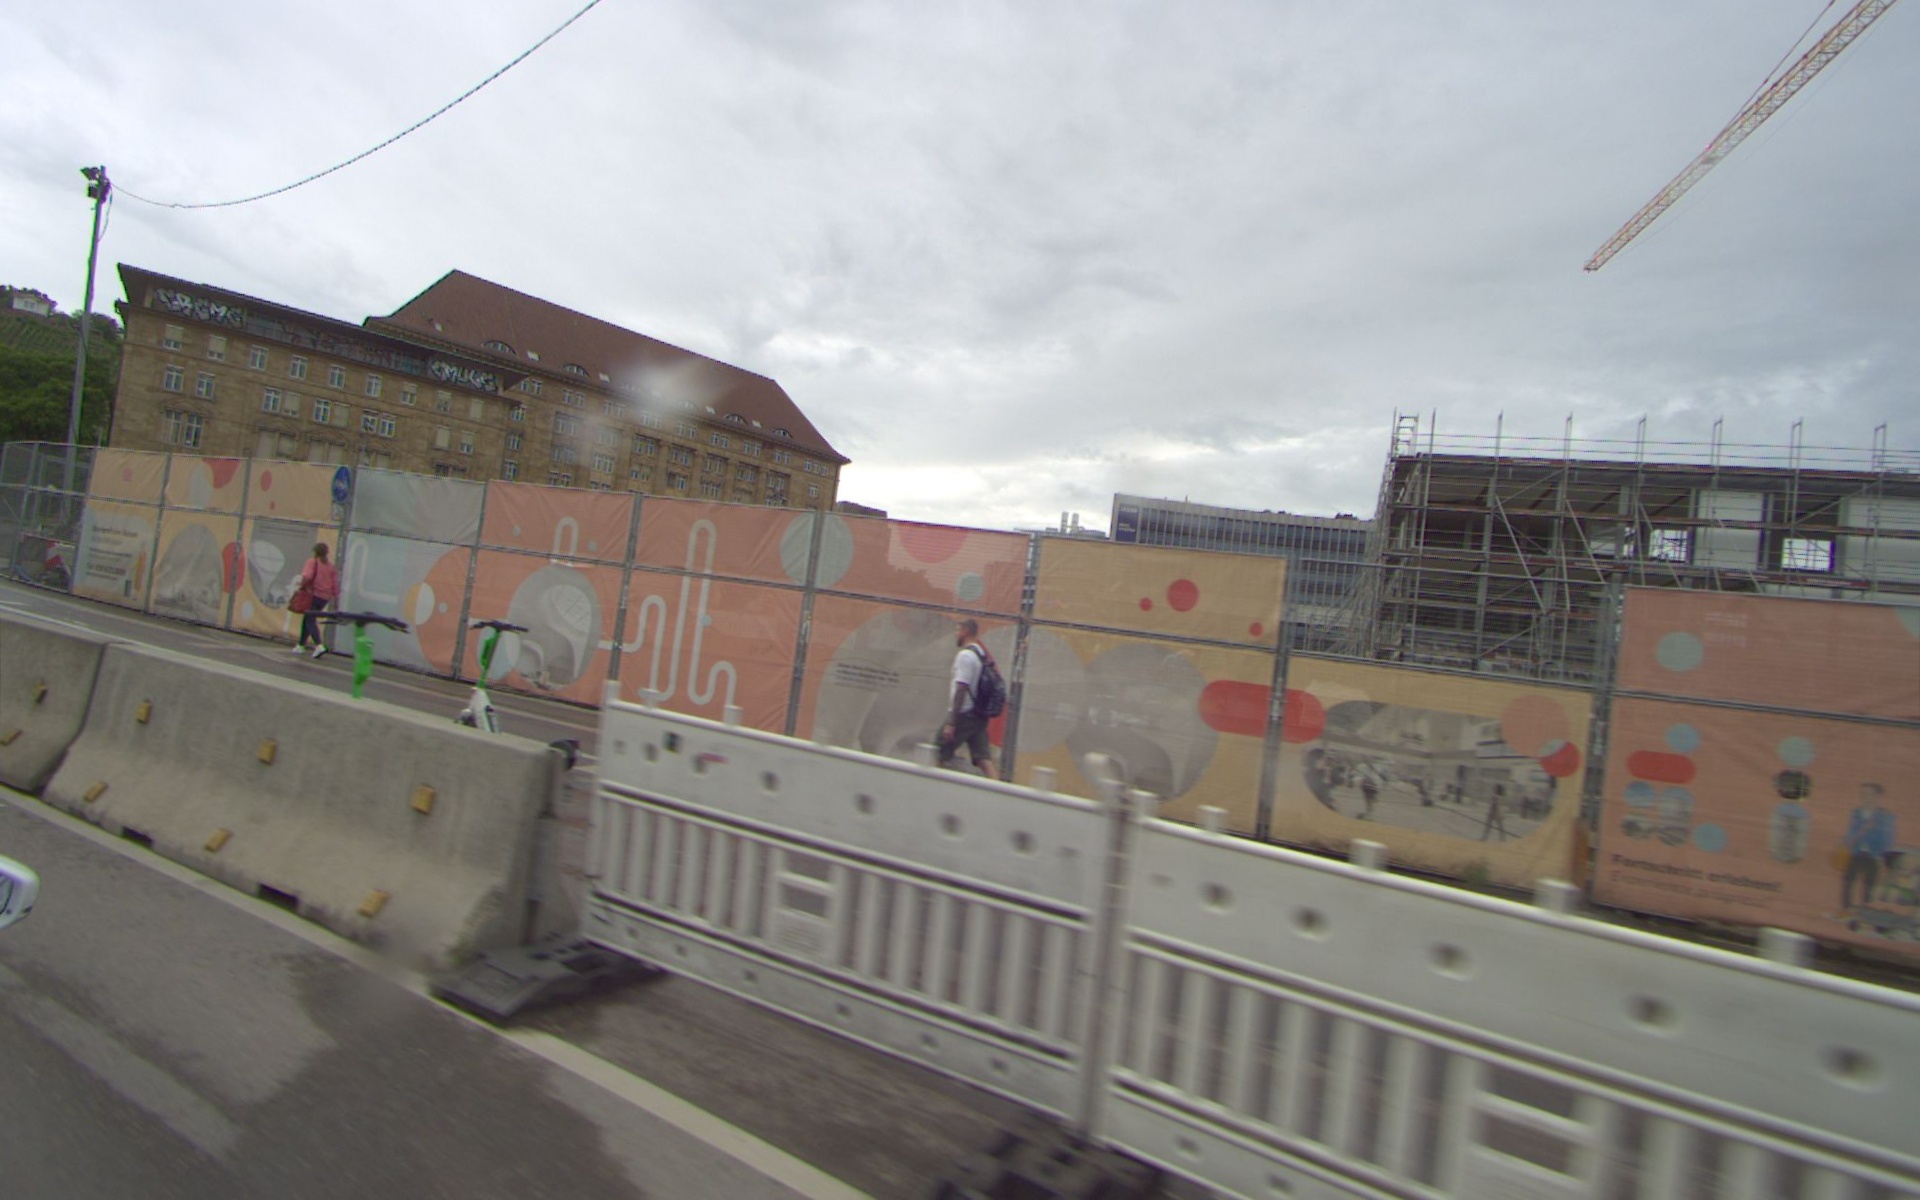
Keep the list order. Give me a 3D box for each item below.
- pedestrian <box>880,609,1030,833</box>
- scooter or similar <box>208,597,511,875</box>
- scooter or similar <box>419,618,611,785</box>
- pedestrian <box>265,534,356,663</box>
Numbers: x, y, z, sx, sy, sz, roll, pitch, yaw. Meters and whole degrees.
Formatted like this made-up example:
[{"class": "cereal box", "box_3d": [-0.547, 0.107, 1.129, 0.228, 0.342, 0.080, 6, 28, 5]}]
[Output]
[{"class": "pedestrian", "box_3d": [-0.040, 1.104, 9.434, 0.972, 1.887, 0.706, 7, -2, 27]}, {"class": "scooter or similar", "box_3d": [-3.364, 0.700, 5.615, 1.545, 1.228, 0.676, 6, -2, 31]}, {"class": "scooter or similar", "box_3d": [-3.790, 0.846, 8.580, 1.388, 1.196, 0.469, 7, -2, 17]}, {"class": "pedestrian", "box_3d": [-10.163, -0.007, 15.759, 0.696, 1.887, 0.722, 7, -2, 24]}]
